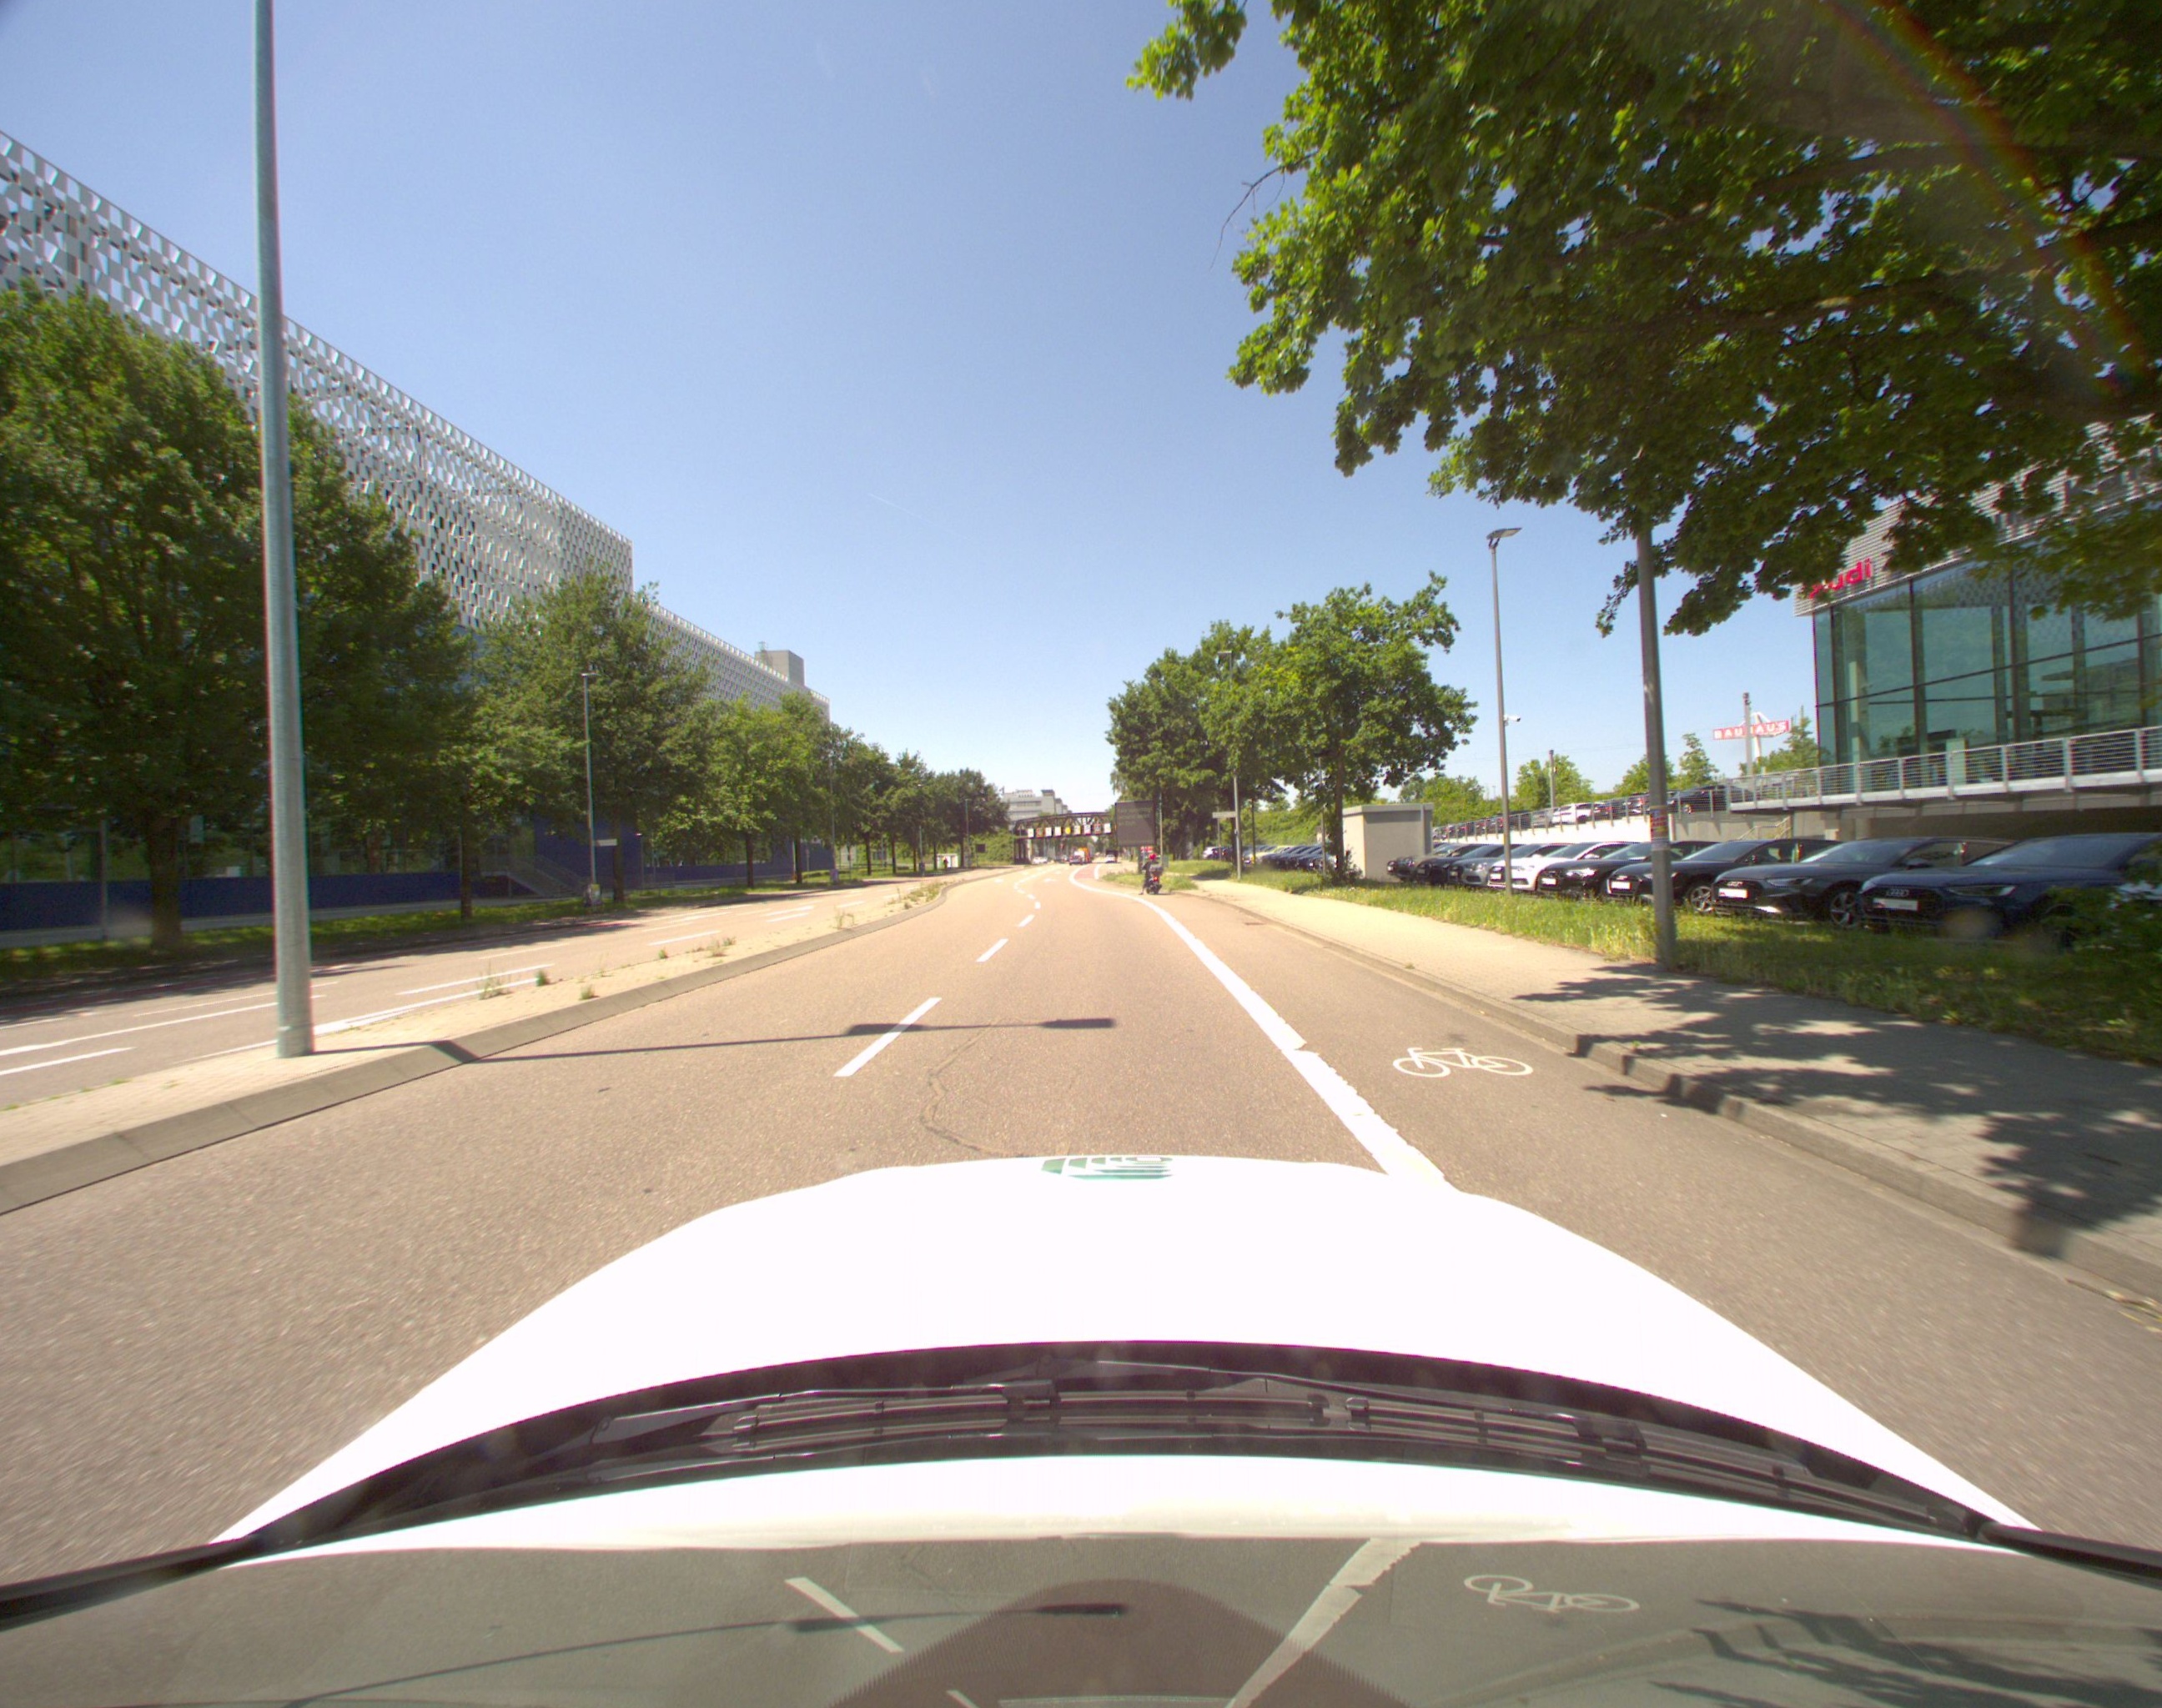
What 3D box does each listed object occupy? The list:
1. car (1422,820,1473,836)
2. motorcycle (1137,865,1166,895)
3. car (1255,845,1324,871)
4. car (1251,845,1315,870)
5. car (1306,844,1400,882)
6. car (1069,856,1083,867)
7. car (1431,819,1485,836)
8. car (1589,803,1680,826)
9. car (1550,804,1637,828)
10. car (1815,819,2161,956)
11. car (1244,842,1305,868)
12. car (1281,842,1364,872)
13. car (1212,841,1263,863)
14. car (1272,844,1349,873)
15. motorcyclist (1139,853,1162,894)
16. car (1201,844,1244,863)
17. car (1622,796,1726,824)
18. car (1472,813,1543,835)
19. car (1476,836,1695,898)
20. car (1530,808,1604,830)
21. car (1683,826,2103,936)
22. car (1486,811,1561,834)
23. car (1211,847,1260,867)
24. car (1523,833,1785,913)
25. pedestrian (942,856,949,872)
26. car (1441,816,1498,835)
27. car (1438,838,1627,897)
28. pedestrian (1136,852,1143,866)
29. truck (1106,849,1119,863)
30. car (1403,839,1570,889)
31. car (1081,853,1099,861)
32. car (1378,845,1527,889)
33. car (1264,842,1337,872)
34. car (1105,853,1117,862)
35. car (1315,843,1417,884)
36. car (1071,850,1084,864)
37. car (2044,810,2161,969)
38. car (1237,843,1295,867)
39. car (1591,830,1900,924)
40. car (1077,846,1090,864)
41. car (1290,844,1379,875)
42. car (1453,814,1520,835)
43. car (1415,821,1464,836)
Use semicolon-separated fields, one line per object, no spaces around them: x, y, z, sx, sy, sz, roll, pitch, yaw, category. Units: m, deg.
29.879;-2.110;66.428;3.513;1.239;1.541;0;0;-1;car
2.685;0.971;31.383;0.716;1.105;1.825;-1;0;-8;motorcycle
13.530;0.265;53.050;3.978;1.423;1.795;3;0;-3;car
13.768;0.223;55.720;3.852;1.503;1.795;3;0;-3;car
13.089;0.427;39.300;3.907;1.582;1.795;3;0;-3;car
-0.655;1.070;116.164;1.894;1.376;4.232;-2;0;1;car
29.828;-2.088;64.440;3.513;1.239;1.610;0;0;-1;car
29.230;-2.071;43.068;3.716;1.130;1.682;0;0;-3;car
28.979;-2.118;46.134;3.930;1.211;1.716;-1;0;-3;car
11.659;0.389;9.629;4.205;1.407;1.918;2;0;1;car
13.796;0.078;58.230;3.852;1.604;1.795;3;0;-3;car
13.343;0.172;45.141;3.978;1.440;1.795;3;0;-3;car
13.158;-0.150;68.423;3.852;1.604;1.795;3;0;-3;car
13.375;0.254;47.599;3.978;1.440;1.795;3;0;-3;car
2.682;0.748;31.415;0.719;1.529;0.868;-1;-1;-8;motorcyclist
13.758;-0.061;79.327;3.852;1.604;1.795;3;0;-3;car
29.334;-2.165;40.352;3.978;1.312;1.795;0;0;-3;car
29.567;-2.084;56.509;3.978;1.311;1.795;-2;0;-3;car
12.311;0.298;20.090;4.205;1.342;1.918;2;0;1;car
29.106;-2.113;48.826;3.515;1.239;1.675;0;0;-3;car
11.781;0.362;12.079;4.205;1.369;1.989;2;0;1;car
29.218;-2.092;53.872;3.978;1.311;1.795;-2;0;-3;car
13.485;0.224;71.283;3.852;1.604;1.795;2;0;-3;car
12.116;0.383;17.443;4.205;1.385;1.918;3;0;1;car
-17.133;1.255;103.020;0.741;1.884;0.578;-2;0;2;pedestrian
29.525;-2.180;61.975;3.513;1.239;1.610;-2;0;-1;car
12.455;0.371;22.675;4.205;1.452;1.918;2;0;1;car
5.866;0.544;81.610;0.621;1.374;0.564;-2;0;0;pedestrian
5.855;0.363;151.613;2.449;2.410;7.136;0;0;2;truck
12.429;0.298;25.156;4.205;1.342;1.918;2;0;1;car
2.228;0.814;194.980;3.966;1.750;1.896;-2;0;6;car
12.548;0.431;27.690;4.205;1.342;1.918;2;0;1;car
13.512;0.182;50.257;3.978;1.624;1.795;3;0;-3;car
5.158;0.586;140.158;1.917;1.420;4.001;-1;0;1;car
12.927;0.431;37.115;3.978;1.618;1.795;3;0;-3;car
-0.499;0.488;124.686;1.986;2.013;4.001;-1;0;1;car
11.659;0.375;7.105;4.205;1.407;1.918;2;0;1;car
13.782;0.074;60.687;3.852;1.604;1.795;3;0;-3;car
11.905;0.392;14.805;4.115;1.380;1.779;3;0;1;car
0.390;0.159;142.028;2.065;2.854;6.766;-2;0;1;car
13.139;0.277;42.355;3.978;1.377;1.795;3;0;-3;car
29.515;-2.151;59.367;3.978;1.311;1.795;-2;0;-3;car
30.592;-2.183;69.615;3.511;1.239;1.542;0;0;0;car
